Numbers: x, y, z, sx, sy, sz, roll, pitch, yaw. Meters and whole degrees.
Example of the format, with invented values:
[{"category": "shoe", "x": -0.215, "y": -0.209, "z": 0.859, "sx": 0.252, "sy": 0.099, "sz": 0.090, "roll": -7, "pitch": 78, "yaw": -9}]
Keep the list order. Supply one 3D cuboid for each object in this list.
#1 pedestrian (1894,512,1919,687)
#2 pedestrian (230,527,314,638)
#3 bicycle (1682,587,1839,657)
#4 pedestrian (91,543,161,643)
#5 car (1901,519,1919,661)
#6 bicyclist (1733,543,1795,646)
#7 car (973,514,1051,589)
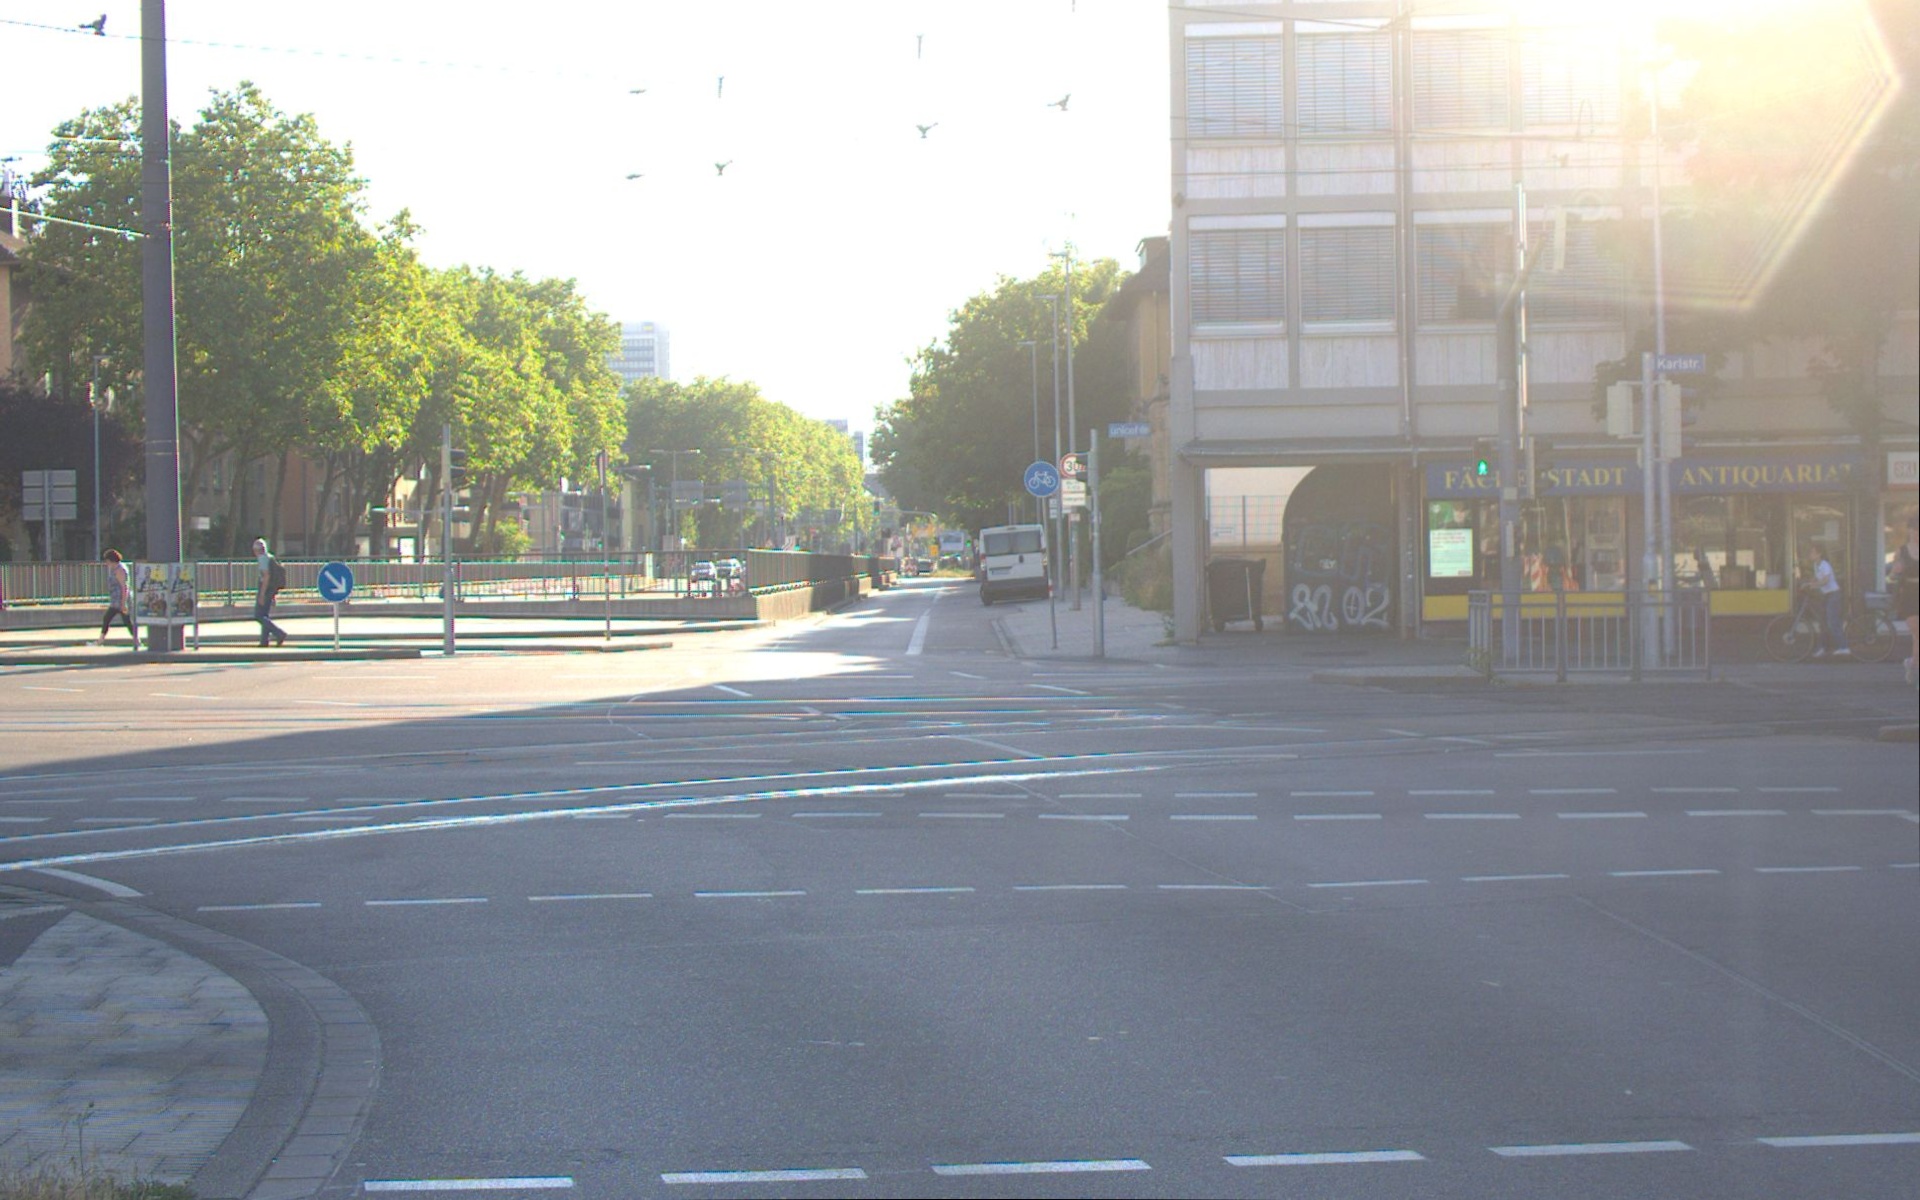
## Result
[{"category": "pedestrian", "x": 9.478, "y": -0.004, "z": 33.429, "sx": 0.696, "sy": 1.676, "sz": 1.041, "roll": 1, "pitch": 0, "yaw": 13}, {"category": "pedestrian", "x": -10.877, "y": -0.283, "z": 54.374, "sx": 1.194, "sy": 1.725, "sz": 0.856, "roll": 1, "pitch": 0, "yaw": -5}, {"category": "bicycle", "x": 11.226, "y": 0.304, "z": 48.226, "sx": 2.024, "sy": 0.937, "sz": 0.671, "roll": 1, "pitch": 0, "yaw": -1}, {"category": "pedestrian", "x": -12.591, "y": -0.100, "z": 51.877, "sx": 0.853, "sy": 1.460, "sz": 0.686, "roll": 1, "pitch": -5, "yaw": -29}, {"category": "car", "x": 12.904, "y": -0.088, "z": 39.029, "sx": 3.987, "sy": 1.612, "sz": 1.844, "roll": 1, "pitch": 0, "yaw": 5}, {"category": "bicyclist", "x": 11.275, "y": -0.082, "z": 48.219, "sx": 0.679, "sy": 1.419, "sz": 0.671, "roll": 1, "pitch": 0, "yaw": -1}, {"category": "car", "x": 1.590, "y": -1.460, "z": 103.910, "sx": 2.286, "sy": 2.165, "sz": 4.833, "roll": 1, "pitch": 1, "yaw": 1}]
